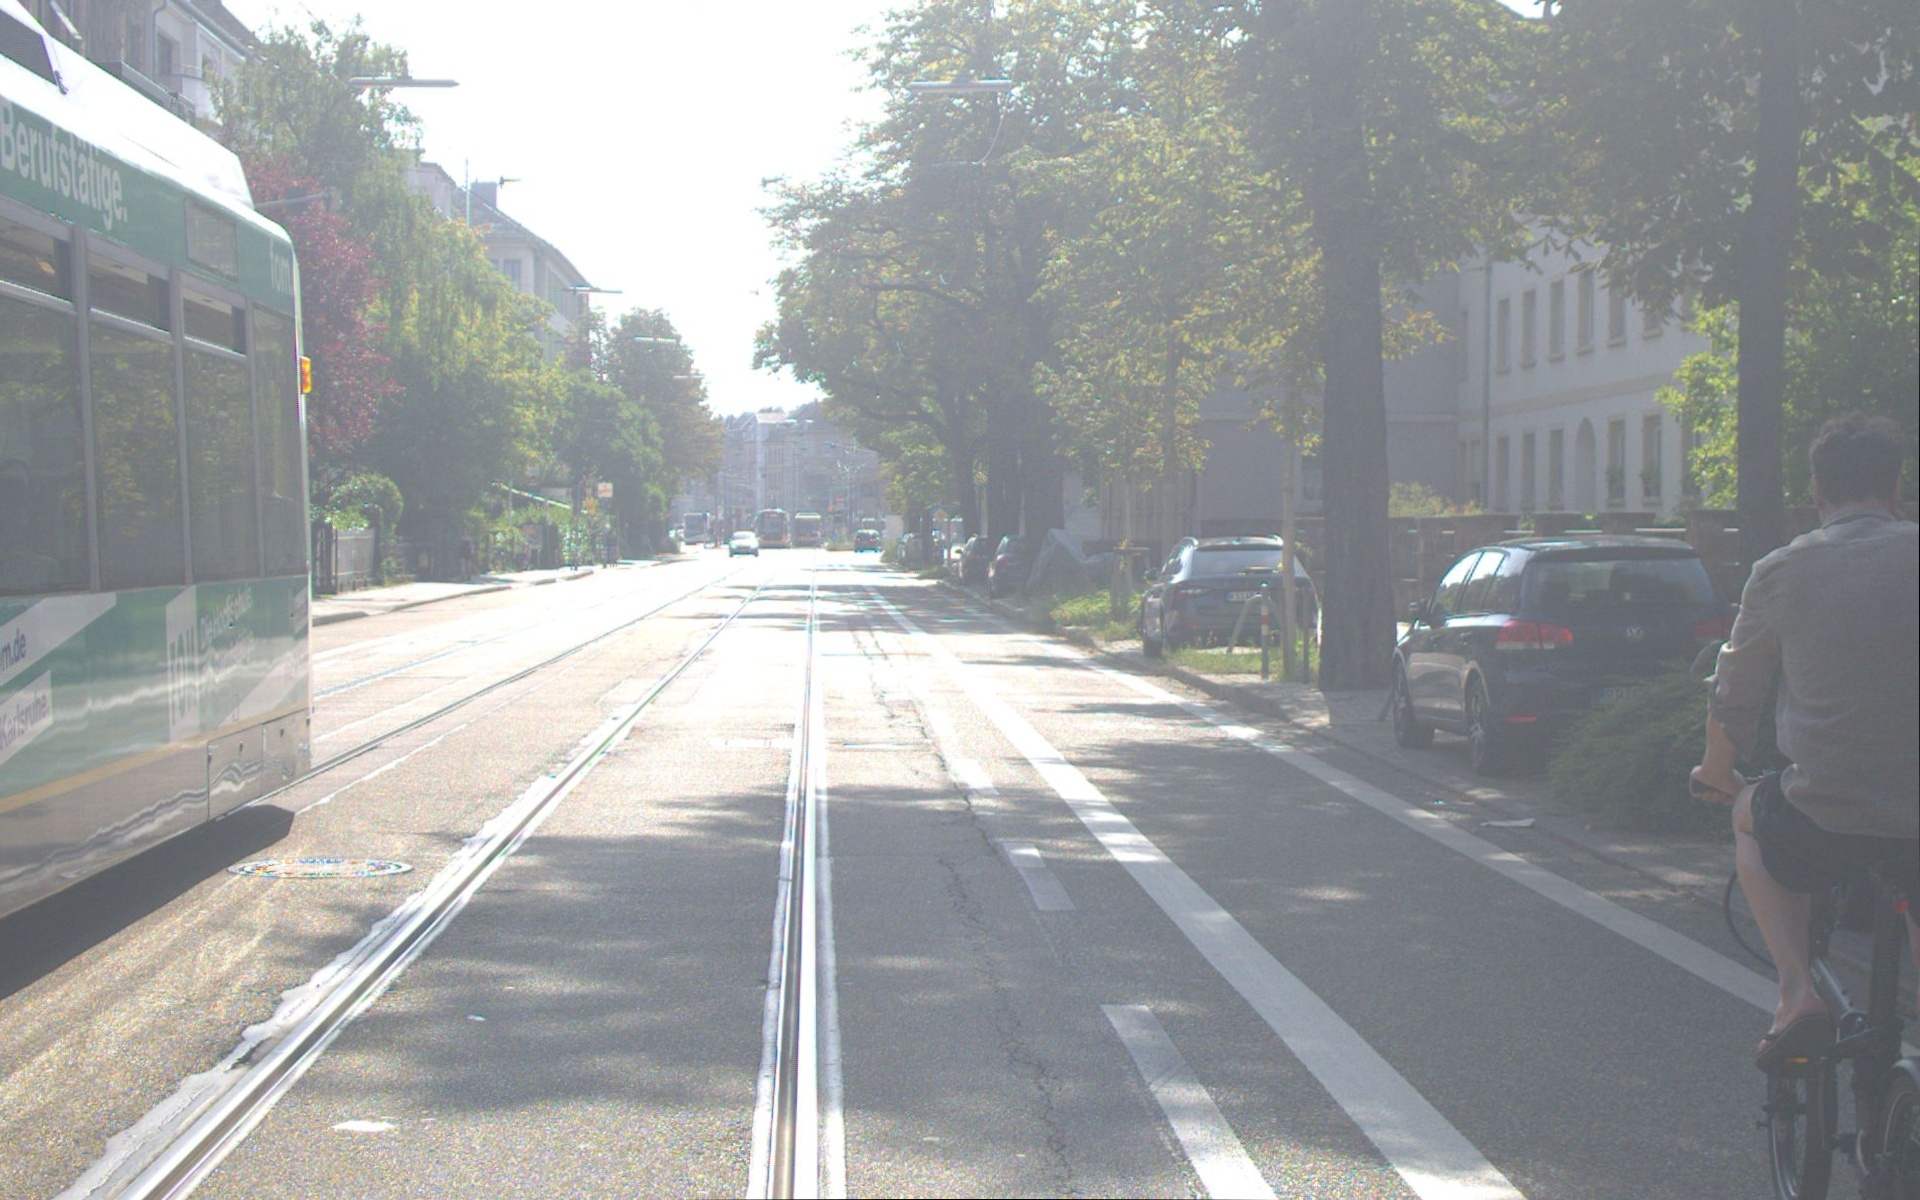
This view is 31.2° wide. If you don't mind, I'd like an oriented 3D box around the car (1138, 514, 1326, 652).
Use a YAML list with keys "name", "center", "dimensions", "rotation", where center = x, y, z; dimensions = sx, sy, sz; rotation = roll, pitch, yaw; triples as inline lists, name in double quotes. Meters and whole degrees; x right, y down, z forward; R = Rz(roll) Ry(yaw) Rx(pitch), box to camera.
- name: "car"
  center: [3.222, -0.236, 41.473]
  dimensions: [1.743, 1.555, 4.719]
  rotation: [0, 1, -2]

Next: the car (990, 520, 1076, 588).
- name: "car"
  center: [1.670, -1.079, 79.943]
  dimensions: [1.726, 1.499, 3.985]
  rotation: [-1, 1, -2]

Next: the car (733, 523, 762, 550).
- name: "car"
  center: [-13.150, -3.942, 212.605]
  dimensions: [1.726, 1.632, 3.985]
  rotation: [0, 1, -2]

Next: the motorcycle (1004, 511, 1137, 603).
- name: "motorcycle"
  center: [2.054, -0.790, 64.117]
  dimensions: [2.418, 1.668, 0.911]
  rotation: [0, 2, 42]

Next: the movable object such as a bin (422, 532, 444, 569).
- name: "movable object such as a bin"
  center: [-15.467, -1.459, 100.829]
  dimensions: [0.631, 1.074, 0.705]
  rotation: [0, 1, -8]

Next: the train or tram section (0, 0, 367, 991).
- name: "train or tram section"
  center: [-4.394, -0.675, 13.582]
  dimensions: [2.734, 3.493, 10.778]
  rotation: [1, 1, -3]

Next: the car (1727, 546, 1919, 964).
- name: "car"
  center: [4.222, 0.539, 12.428]
  dimensions: [1.689, 1.430, 4.337]
  rotation: [-3, 2, -3]

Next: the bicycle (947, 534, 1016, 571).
- name: "bicycle"
  center: [0.680, -1.476, 107.430]
  dimensions: [2.106, 1.101, 0.616]
  rotation: [-1, 1, -3]

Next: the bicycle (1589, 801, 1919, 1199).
- name: "bicycle"
  center: [1.828, 0.946, 7.222]
  dimensions: [0.626, 0.906, 1.525]
  rotation: [2, 1, -3]

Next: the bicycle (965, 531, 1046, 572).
- name: "bicycle"
  center: [1.227, -1.309, 92.780]
  dimensions: [2.106, 1.101, 0.563]
  rotation: [0, 1, -9]

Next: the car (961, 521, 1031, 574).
- name: "car"
  center: [0.997, -1.465, 96.954]
  dimensions: [1.771, 1.468, 3.974]
  rotation: [-1, 0, -2]

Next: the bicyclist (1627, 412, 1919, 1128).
- name: "bicyclist"
  center: [1.852, 0.330, 7.221]
  dimensions: [0.626, 1.396, 0.929]
  rotation: [2, 1, -3]

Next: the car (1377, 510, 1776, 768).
- name: "car"
  center: [3.977, 0.197, 22.819]
  dimensions: [1.689, 1.497, 4.096]
  rotation: [-2, 1, -3]

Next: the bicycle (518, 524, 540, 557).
- name: "bicycle"
  center: [-15.986, -2.197, 127.486]
  dimensions: [0.561, 1.217, 2.114]
  rotation: [0, 1, 0]

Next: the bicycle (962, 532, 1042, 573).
- name: "bicycle"
  center: [1.149, -1.294, 93.302]
  dimensions: [2.106, 1.101, 0.563]
  rotation: [0, 1, -9]
